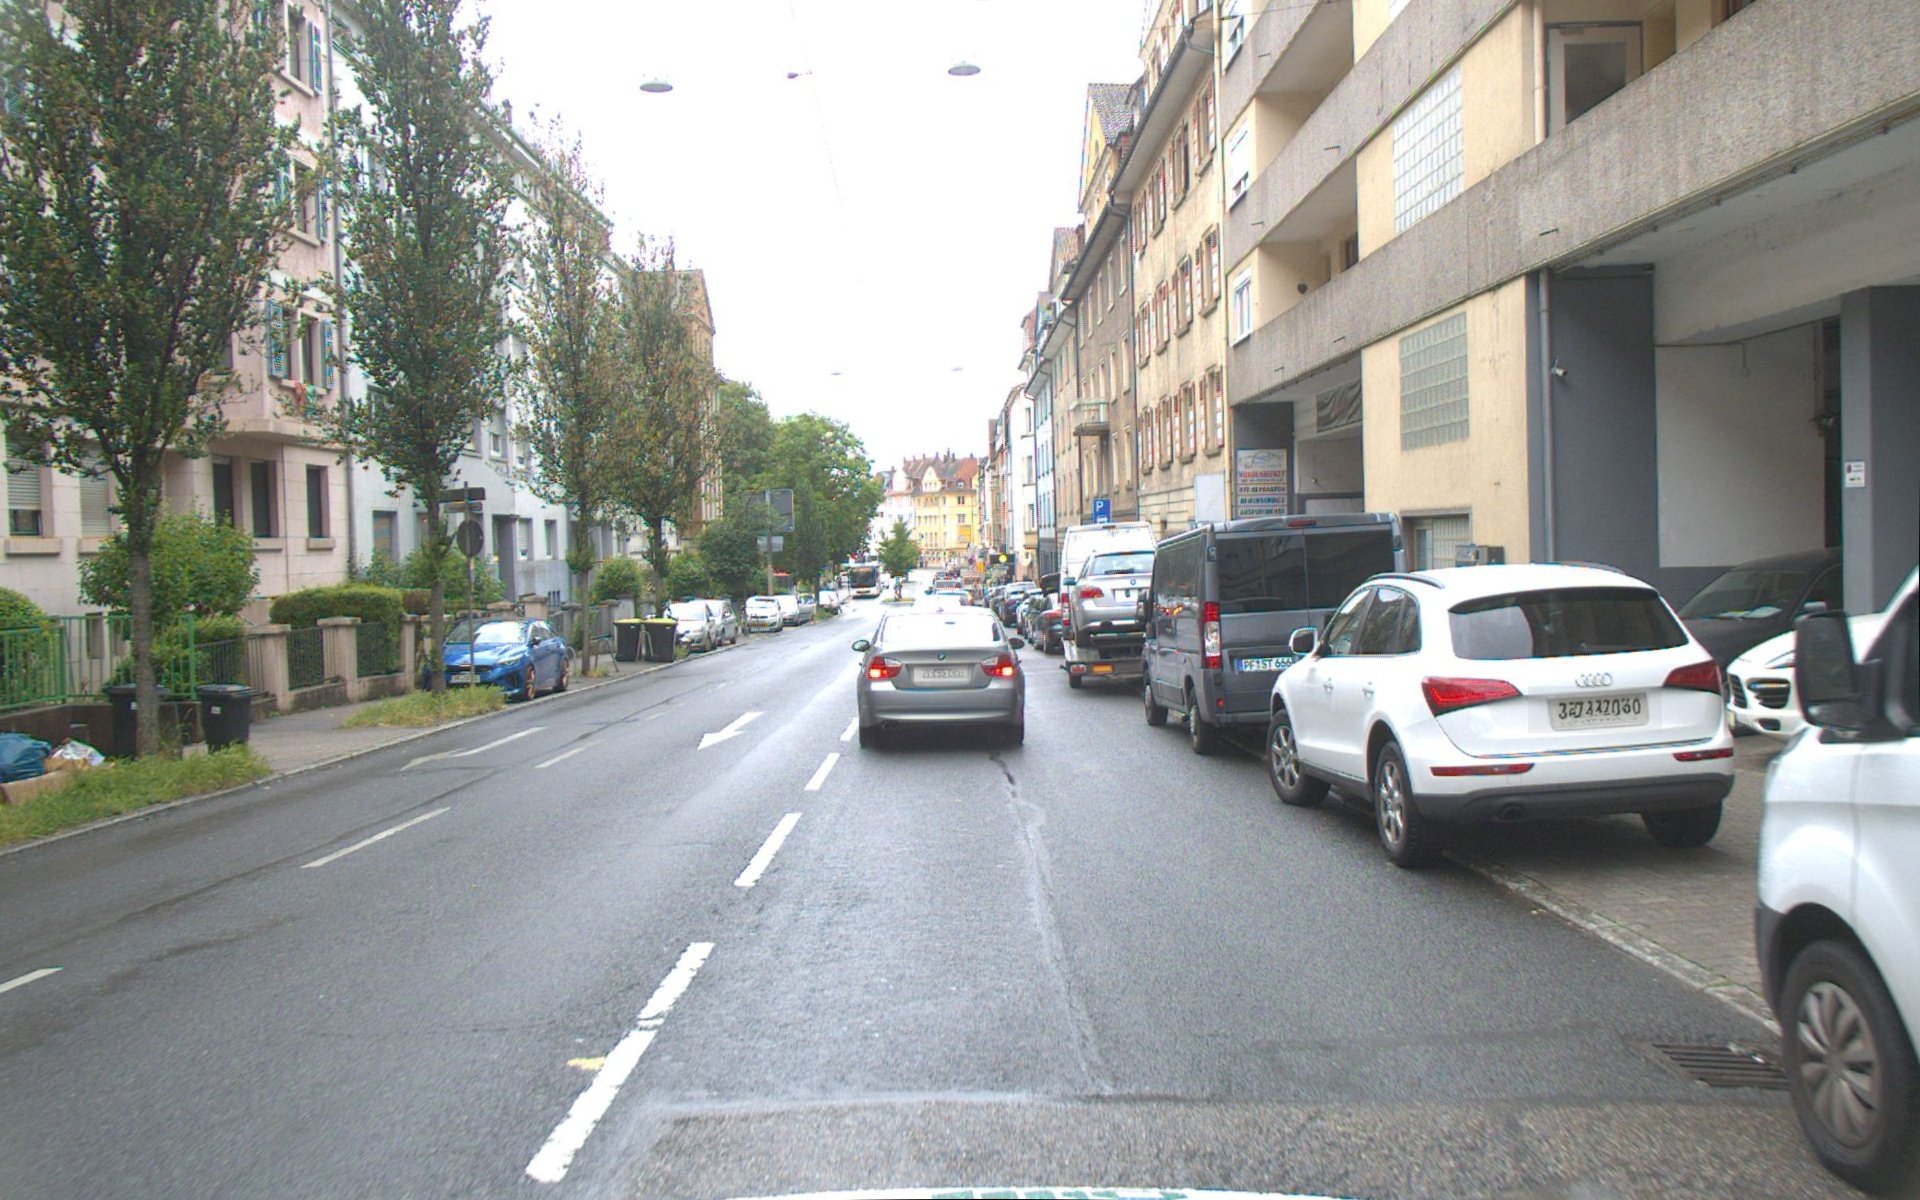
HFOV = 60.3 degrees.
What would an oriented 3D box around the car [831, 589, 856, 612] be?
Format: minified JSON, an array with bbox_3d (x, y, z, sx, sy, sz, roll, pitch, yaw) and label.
[{"bbox_3d":[-7.883,0.031,111.725,1.600,1.479,3.836,-2,1,-4],"label":"car"}]

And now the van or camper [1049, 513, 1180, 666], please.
[{"bbox_3d":[3.057,-0.245,33.995,2.139,2.746,6.421,-3,1,1],"label":"van or camper"}]

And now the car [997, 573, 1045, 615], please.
[{"bbox_3d":[2.537,-0.273,69.359,1.754,1.575,4.225,-3,1,0],"label":"car"}]

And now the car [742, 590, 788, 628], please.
[{"bbox_3d":[-8.365,0.375,71.288,1.613,1.534,3.795,-1,0,-2],"label":"car"}]

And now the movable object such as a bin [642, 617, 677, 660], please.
[{"bbox_3d":[-7.792,0.998,42.900,0.808,1.076,0.483,1,-1,0],"label":"movable object such as a bin"}]

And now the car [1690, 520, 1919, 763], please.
[{"bbox_3d":[7.732,0.208,12.330,3.938,1.669,1.814,-4,1,18],"label":"car"}]

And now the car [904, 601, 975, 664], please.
[{"bbox_3d":[-0.531,0.773,40.412,1.570,1.445,3.286,1,0,-3],"label":"car"}]

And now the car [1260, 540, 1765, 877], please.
[{"bbox_3d":[3.280,0.549,10.781,1.711,1.668,4.272,-3,0,-1],"label":"car"}]

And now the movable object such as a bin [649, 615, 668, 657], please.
[{"bbox_3d":[-7.937,0.951,43.566,0.462,1.076,0.482,1,-1,-10],"label":"movable object such as a bin"}]

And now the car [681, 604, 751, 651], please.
[{"bbox_3d":[-8.230,0.908,55.952,1.567,1.476,3.889,-2,0,3],"label":"car"}]

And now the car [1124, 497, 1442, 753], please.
[{"bbox_3d":[3.178,0.204,17.624,2.110,2.186,5.509,-3,0,-1],"label":"car"}]

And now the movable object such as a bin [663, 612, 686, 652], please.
[{"bbox_3d":[-7.675,0.854,44.459,0.513,1.076,0.483,1,-1,0],"label":"movable object such as a bin"}]

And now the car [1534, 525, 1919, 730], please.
[{"bbox_3d":[7.903,0.189,15.965,4.161,1.684,1.791,-3,1,-16],"label":"car"}]

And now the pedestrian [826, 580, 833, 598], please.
[{"bbox_3d":[-12.235,-1.019,155.049,0.532,1.739,0.465,1,-1,-7],"label":"pedestrian"}]

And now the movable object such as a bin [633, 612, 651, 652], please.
[{"bbox_3d":[-8.507,0.853,44.245,0.462,1.076,0.482,1,-1,-10],"label":"movable object such as a bin"}]

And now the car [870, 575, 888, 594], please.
[{"bbox_3d":[-9.186,-1.713,188.039,1.953,2.049,3.998,1,0,-2],"label":"car"}]

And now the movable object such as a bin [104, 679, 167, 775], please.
[{"bbox_3d":[-8.379,1.283,16.820,0.356,0.927,0.572,0,0,-1],"label":"movable object such as a bin"}]

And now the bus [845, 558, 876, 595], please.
[{"bbox_3d":[-9.616,-2.222,160.452,2.627,3.256,11.951,1,0,-2],"label":"bus"}]

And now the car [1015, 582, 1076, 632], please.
[{"bbox_3d":[2.672,0.196,52.412,1.599,1.504,3.733,1,0,-2],"label":"car"}]

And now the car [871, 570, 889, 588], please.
[{"bbox_3d":[-9.486,-2.511,196.417,1.953,2.049,3.998,1,0,-2],"label":"car"}]

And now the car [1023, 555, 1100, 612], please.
[{"bbox_3d":[2.867,-0.459,47.727,1.742,1.505,4.586,-2,0,-2],"label":"car"}]

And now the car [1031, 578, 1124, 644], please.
[{"bbox_3d":[2.916,0.261,41.938,1.742,1.505,4.187,-3,0,-4],"label":"car"}]

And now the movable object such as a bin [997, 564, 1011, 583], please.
[{"bbox_3d":[4.108,-2.452,154.275,1.100,1.732,1.433,-3,0,-3],"label":"movable object such as a bin"}]

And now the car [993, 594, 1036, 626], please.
[{"bbox_3d":[2.685,0.477,82.391,1.804,1.433,4.386,-4,1,-2],"label":"car"}]

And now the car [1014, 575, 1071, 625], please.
[{"bbox_3d":[2.834,-0.025,57.798,1.599,1.667,4.193,1,0,-2],"label":"car"}]

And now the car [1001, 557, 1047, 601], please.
[{"bbox_3d":[2.915,-0.949,75.847,1.754,1.849,4.079,-3,1,-1],"label":"car"}]

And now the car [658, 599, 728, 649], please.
[{"bbox_3d":[-8.143,0.718,50.699,1.568,1.421,3.886,-2,0,-1],"label":"car"}]

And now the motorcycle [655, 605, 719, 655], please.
[{"bbox_3d":[-7.571,0.827,45.858,1.778,1.338,0.738,-2,1,41],"label":"motorcycle"}]

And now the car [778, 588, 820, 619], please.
[{"bbox_3d":[-7.891,0.159,81.378,1.648,1.414,3.909,-1,1,0],"label":"car"}]

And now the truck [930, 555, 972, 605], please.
[{"bbox_3d":[-0.516,-1.046,90.344,2.172,2.589,4.778,1,0,-2],"label":"truck"}]

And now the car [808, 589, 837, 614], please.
[{"bbox_3d":[-8.872,0.085,106.778,1.620,1.479,3.941,-2,1,-2],"label":"car"}]

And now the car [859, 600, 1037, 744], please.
[{"bbox_3d":[-0.143,0.704,17.629,1.720,1.386,3.164,0,0,-1],"label":"car"}]

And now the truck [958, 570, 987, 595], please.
[{"bbox_3d":[1.123,-1.564,147.352,2.172,2.153,4.648,2,0,-4],"label":"truck"}]

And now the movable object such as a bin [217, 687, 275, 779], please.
[{"bbox_3d":[-7.403,1.373,17.155,0.356,0.905,0.572,0,0,-1],"label":"movable object such as a bin"}]

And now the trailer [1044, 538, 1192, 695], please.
[{"bbox_3d":[2.467,0.165,27.014,1.952,2.189,5.074,-4,2,2],"label":"trailer"}]

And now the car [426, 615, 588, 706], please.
[{"bbox_3d":[-7.982,1.023,29.553,1.645,1.410,4.602,-2,0,-1],"label":"car"}]

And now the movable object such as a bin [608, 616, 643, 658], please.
[{"bbox_3d":[-8.752,0.970,43.262,0.808,1.076,0.483,0,-1,0],"label":"movable object such as a bin"}]

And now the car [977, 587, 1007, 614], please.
[{"bbox_3d":[1.926,0.022,99.854,1.551,1.454,3.594,-5,1,-1],"label":"car"}]

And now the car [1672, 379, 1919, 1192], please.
[{"bbox_3d":[3.310,0.426,2.861,1.949,1.990,4.822,-3,0,-1],"label":"car"}]

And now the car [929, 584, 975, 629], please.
[{"bbox_3d":[-0.225,0.212,52.894,1.406,1.380,3.762,1,0,1],"label":"car"}]
